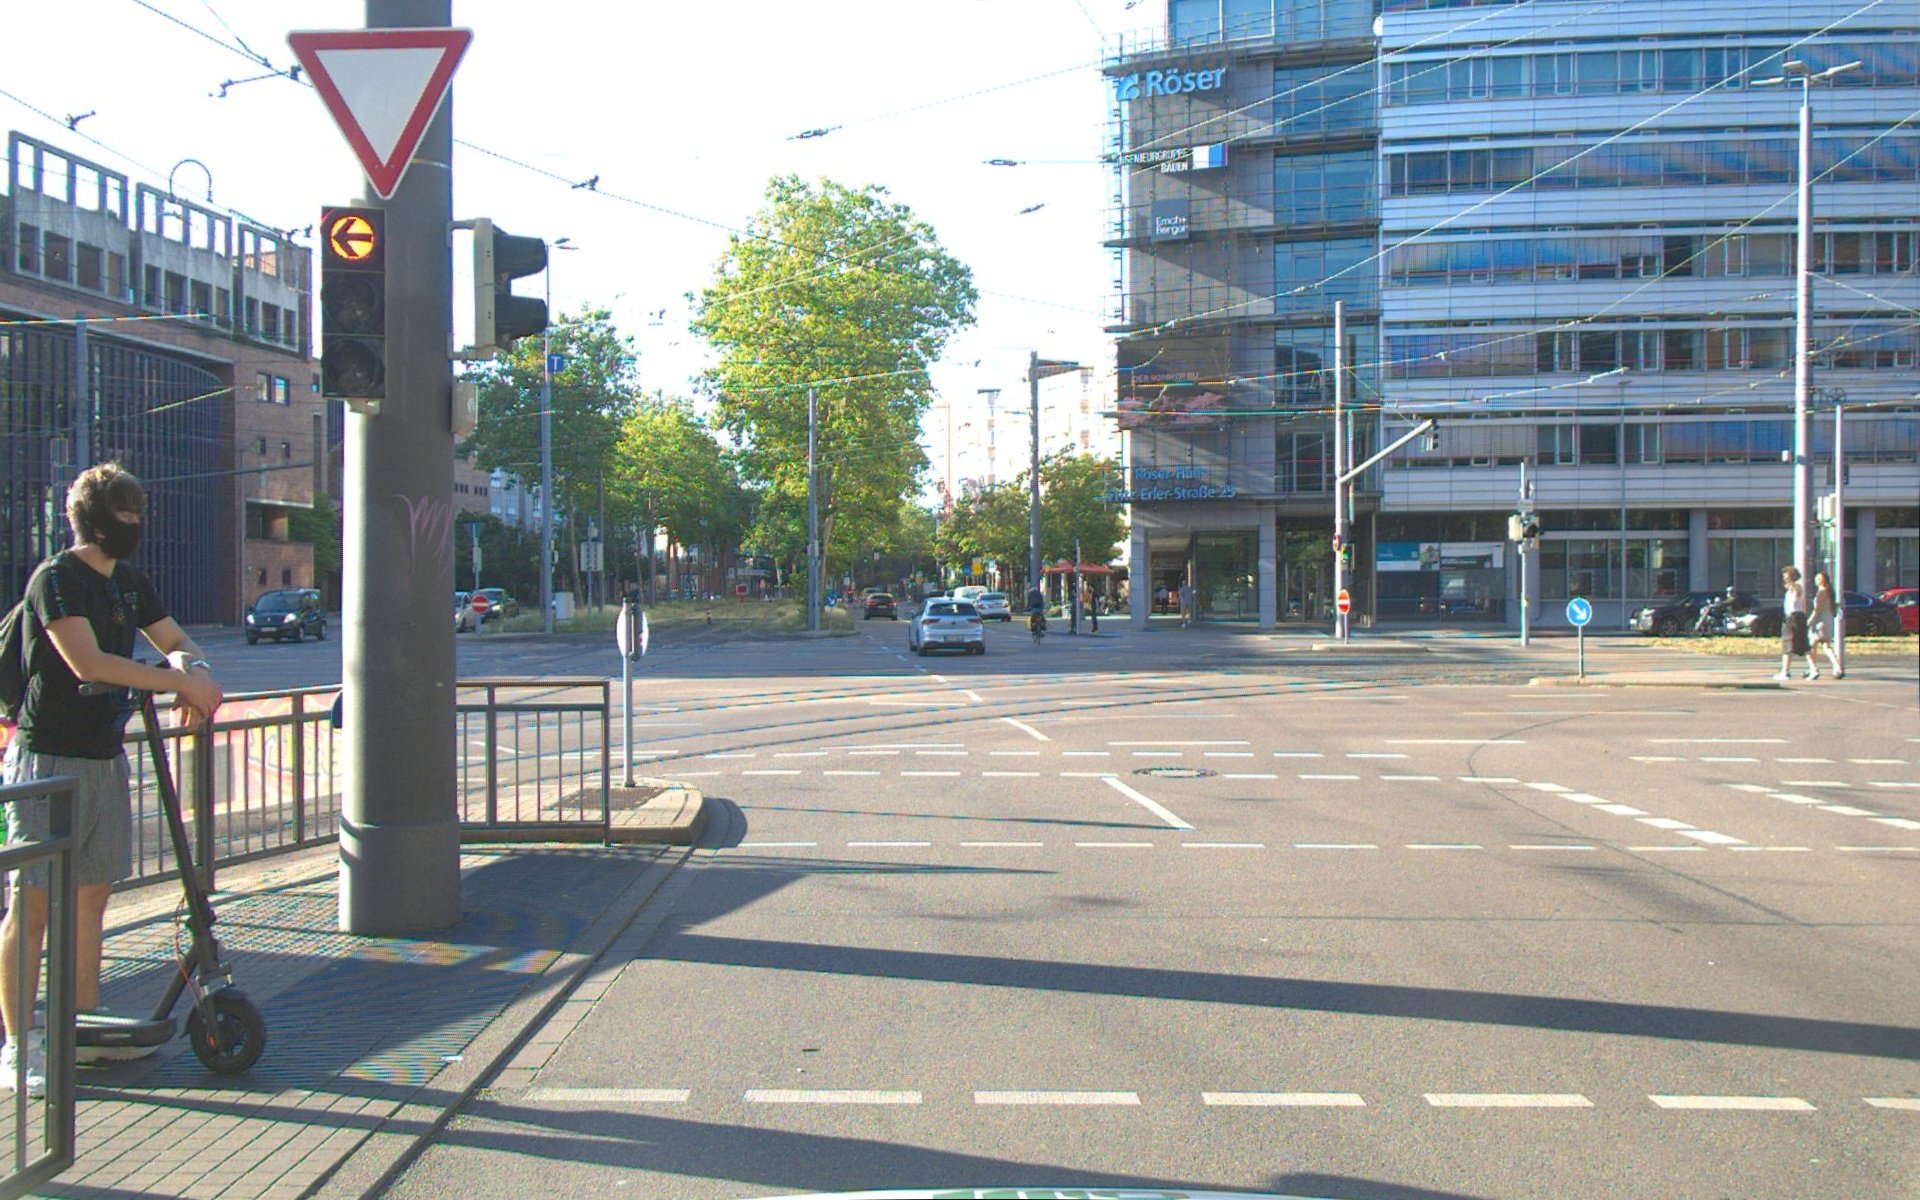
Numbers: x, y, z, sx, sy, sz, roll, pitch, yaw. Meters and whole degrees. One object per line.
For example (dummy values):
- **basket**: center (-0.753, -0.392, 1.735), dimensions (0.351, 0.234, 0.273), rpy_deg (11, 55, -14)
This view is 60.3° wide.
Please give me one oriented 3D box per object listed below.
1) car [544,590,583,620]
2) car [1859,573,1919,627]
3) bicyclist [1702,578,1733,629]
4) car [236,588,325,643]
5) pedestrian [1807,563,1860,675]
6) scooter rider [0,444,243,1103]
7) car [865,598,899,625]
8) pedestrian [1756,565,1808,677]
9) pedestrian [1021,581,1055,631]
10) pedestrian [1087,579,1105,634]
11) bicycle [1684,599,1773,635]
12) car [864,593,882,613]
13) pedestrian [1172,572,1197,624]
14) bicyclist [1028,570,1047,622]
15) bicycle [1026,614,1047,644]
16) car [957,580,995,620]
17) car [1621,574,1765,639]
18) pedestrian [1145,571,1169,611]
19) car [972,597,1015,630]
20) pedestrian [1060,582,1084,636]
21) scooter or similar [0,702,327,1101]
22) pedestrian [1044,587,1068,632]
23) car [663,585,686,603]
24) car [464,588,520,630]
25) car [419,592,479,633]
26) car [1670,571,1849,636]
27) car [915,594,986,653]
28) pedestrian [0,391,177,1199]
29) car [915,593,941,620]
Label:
- **car**: center (-22.419, 0.263, 93.702), dimensions (1.644, 1.635, 3.994), rpy_deg (1, 0, -7)
- **car**: center (29.449, 0.038, 49.670), dimensions (3.903, 1.579, 1.798), rpy_deg (1, 0, 4)
- **bicyclist**: center (22.836, 0.108, 49.863), dimensions (0.649, 1.529, 0.613), rpy_deg (-1, 0, 4)
- **car**: center (-23.315, 0.500, 56.885), dimensions (1.832, 1.793, 3.993), rpy_deg (1, 0, -8)
- **pedestrian**: center (14.202, 0.307, 26.902), dimensions (0.725, 1.789, 0.685), rpy_deg (-1, 0, 26)
- **scooter rider**: center (-2.651, 0.504, 5.097), dimensions (0.554, 1.885, 0.680), rpy_deg (-1, -2, 4)
- **car**: center (-4.310, 0.609, 91.211), dimensions (1.729, 1.429, 4.292), rpy_deg (0, 0, -5)
- **pedestrian**: center (13.371, 0.335, 26.903), dimensions (0.725, 1.789, 0.679), rpy_deg (-1, 0, 26)
- **pedestrian**: center (3.112, 0.238, 66.079), dimensions (1.315, 1.984, 1.011), rpy_deg (0, 0, -1)
- **pedestrian**: center (5.168, 0.238, 62.829), dimensions (0.574, 2.049, 0.620), rpy_deg (1, -1, 0)
- **bicycle**: center (23.157, 0.501, 49.843), dimensions (2.359, 1.040, 0.637), rpy_deg (-1, 0, 4)
- **car**: center (-10.903, 0.374, 207.907), dimensions (1.952, 2.049, 3.998), rpy_deg (1, -8, 0)
- **pedestrian**: center (8.929, -0.074, 65.690), dimensions (0.852, 2.049, 0.793), rpy_deg (1, -2, -1)
- **bicyclist**: center (2.239, -0.121, 47.963), dimensions (0.477, 1.464, 0.615), rpy_deg (1, 0, -1)
- **bicycle**: center (2.224, 0.831, 48.116), dimensions (0.481, 0.802, 1.861), rpy_deg (1, 1, -1)
- **car**: center (0.855, 0.008, 89.789), dimensions (1.953, 2.049, 3.999), rpy_deg (1, 0, -1)
- **car**: center (24.350, 0.215, 55.070), dimensions (3.906, 2.049, 2.000), rpy_deg (1, 0, -1)
- **pedestrian**: center (11.042, -0.497, 92.867), dimensions (1.285, 2.228, 1.171), rpy_deg (1, -1, 5)
- **car**: center (1.671, 0.670, 82.866), dimensions (1.988, 1.624, 3.999), rpy_deg (1, 0, -1)
- **pedestrian**: center (4.302, 0.357, 63.727), dimensions (0.832, 2.049, 0.707), rpy_deg (1, -1, -2)
- **scooter or similar**: center (-2.676, 0.892, 5.093), dimensions (1.177, 1.100, 0.648), rpy_deg (-1, 0, 3)
- **pedestrian**: center (3.781, 0.358, 65.021), dimensions (0.852, 1.737, 0.793), rpy_deg (1, -1, -1)
- **car**: center (-33.050, -0.655, 191.553), dimensions (1.837, 2.049, 4.472), rpy_deg (-1, 0, 2)
- **car**: center (-21.006, 0.402, 74.324), dimensions (1.787, 1.821, 3.994), rpy_deg (-1, 0, -7)
- **car**: center (-20.641, 0.476, 66.972), dimensions (1.591, 1.604, 3.994), rpy_deg (-1, 0, -7)
- **car**: center (22.664, 0.092, 46.973), dimensions (4.165, 1.753, 1.885), rpy_deg (-1, 0, 2)
- **car**: center (-0.204, 0.575, 43.090), dimensions (1.712, 1.443, 4.001), rpy_deg (0, 0, 1)
- **pedestrian**: center (-2.743, 0.485, 4.109), dimensions (1.143, 1.917, 0.854), rpy_deg (-1, 0, 4)
- **car**: center (-2.464, 0.497, 126.700), dimensions (1.953, 2.049, 3.999), rpy_deg (1, 0, -1)
